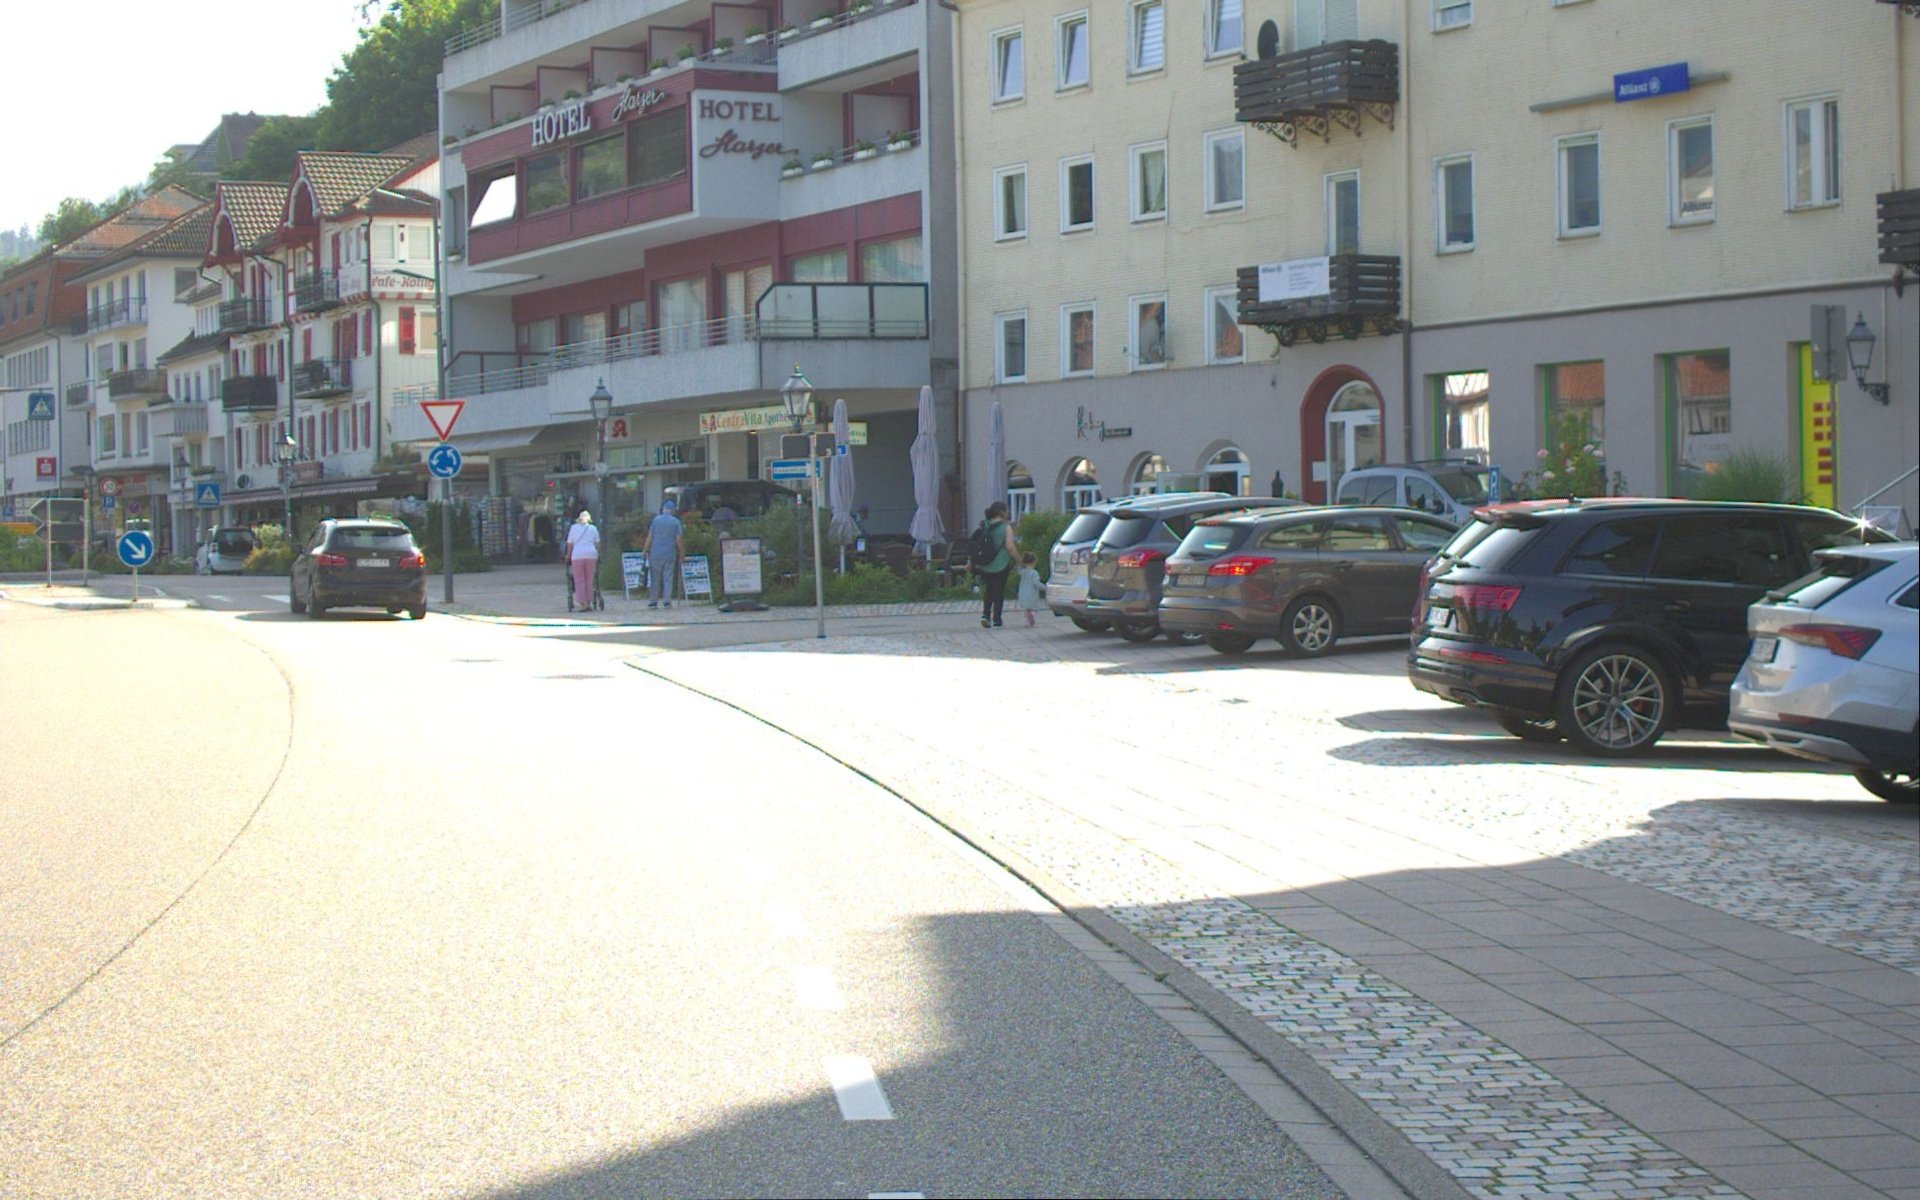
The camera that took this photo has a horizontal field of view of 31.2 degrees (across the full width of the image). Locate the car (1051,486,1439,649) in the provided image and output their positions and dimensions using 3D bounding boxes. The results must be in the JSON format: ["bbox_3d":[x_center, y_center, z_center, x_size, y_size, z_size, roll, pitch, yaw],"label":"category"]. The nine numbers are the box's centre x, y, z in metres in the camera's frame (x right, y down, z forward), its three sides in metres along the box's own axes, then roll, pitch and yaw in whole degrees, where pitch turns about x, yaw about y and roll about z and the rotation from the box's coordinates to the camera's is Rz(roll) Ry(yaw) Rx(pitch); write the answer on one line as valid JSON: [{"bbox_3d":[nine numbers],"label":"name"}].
[{"bbox_3d":[3.169,-0.402,38.317,3.860,1.544,1.773,-4,3,-22],"label":"car"}]

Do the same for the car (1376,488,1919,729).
[{"bbox_3d":[5.401,0.035,27.211,3.909,1.695,1.773,2,2,-1],"label":"car"}]

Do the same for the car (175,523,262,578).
[{"bbox_3d":[-22.503,-1.514,104.254,1.676,1.615,4.001,-1,1,-26],"label":"car"}]

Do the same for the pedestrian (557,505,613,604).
[{"bbox_3d":[-6.108,-0.742,55.989,0.757,1.588,0.628,-1,1,-24],"label":"pedestrian"}]

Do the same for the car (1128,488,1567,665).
[{"bbox_3d":[3.933,-0.280,34.936,4.009,1.511,1.773,-4,3,-22],"label":"car"}]

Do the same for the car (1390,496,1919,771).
[{"bbox_3d":[5.089,0.219,23.150,4.084,1.660,1.773,2,1,-1],"label":"car"}]

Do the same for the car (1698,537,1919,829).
[{"bbox_3d":[6.259,0.444,18.109,4.356,1.456,1.772,1,0,1],"label":"car"}]

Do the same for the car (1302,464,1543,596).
[{"bbox_3d":[7.352,-1.151,54.881,1.857,2.006,3.678,-1,3,-32],"label":"car"}]

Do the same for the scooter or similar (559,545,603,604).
[{"bbox_3d":[-6.194,-0.416,56.165,0.596,0.947,0.474,-1,1,-24],"label":"scooter or similar"}]

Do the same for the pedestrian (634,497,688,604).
[{"bbox_3d":[-4.850,-0.811,55.726,0.668,1.723,0.708,-1,1,-24],"label":"pedestrian"}]

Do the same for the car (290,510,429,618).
[{"bbox_3d":[-9.564,-0.606,54.563,1.727,1.569,3.754,-1,3,-17],"label":"car"}]

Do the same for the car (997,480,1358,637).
[{"bbox_3d":[2.602,-0.527,41.180,3.860,1.607,1.773,-4,3,-22],"label":"car"}]

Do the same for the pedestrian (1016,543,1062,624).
[{"bbox_3d":[0.998,-0.210,43.538,0.417,0.998,0.530,-2,1,16],"label":"pedestrian"}]

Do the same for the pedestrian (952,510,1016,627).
[{"bbox_3d":[0.302,-0.408,43.642,0.735,1.437,0.633,-3,1,-1],"label":"pedestrian"}]

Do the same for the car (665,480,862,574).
[{"bbox_3d":[-3.529,-1.315,61.649,3.162,1.657,1.595,-1,1,-22],"label":"car"}]
